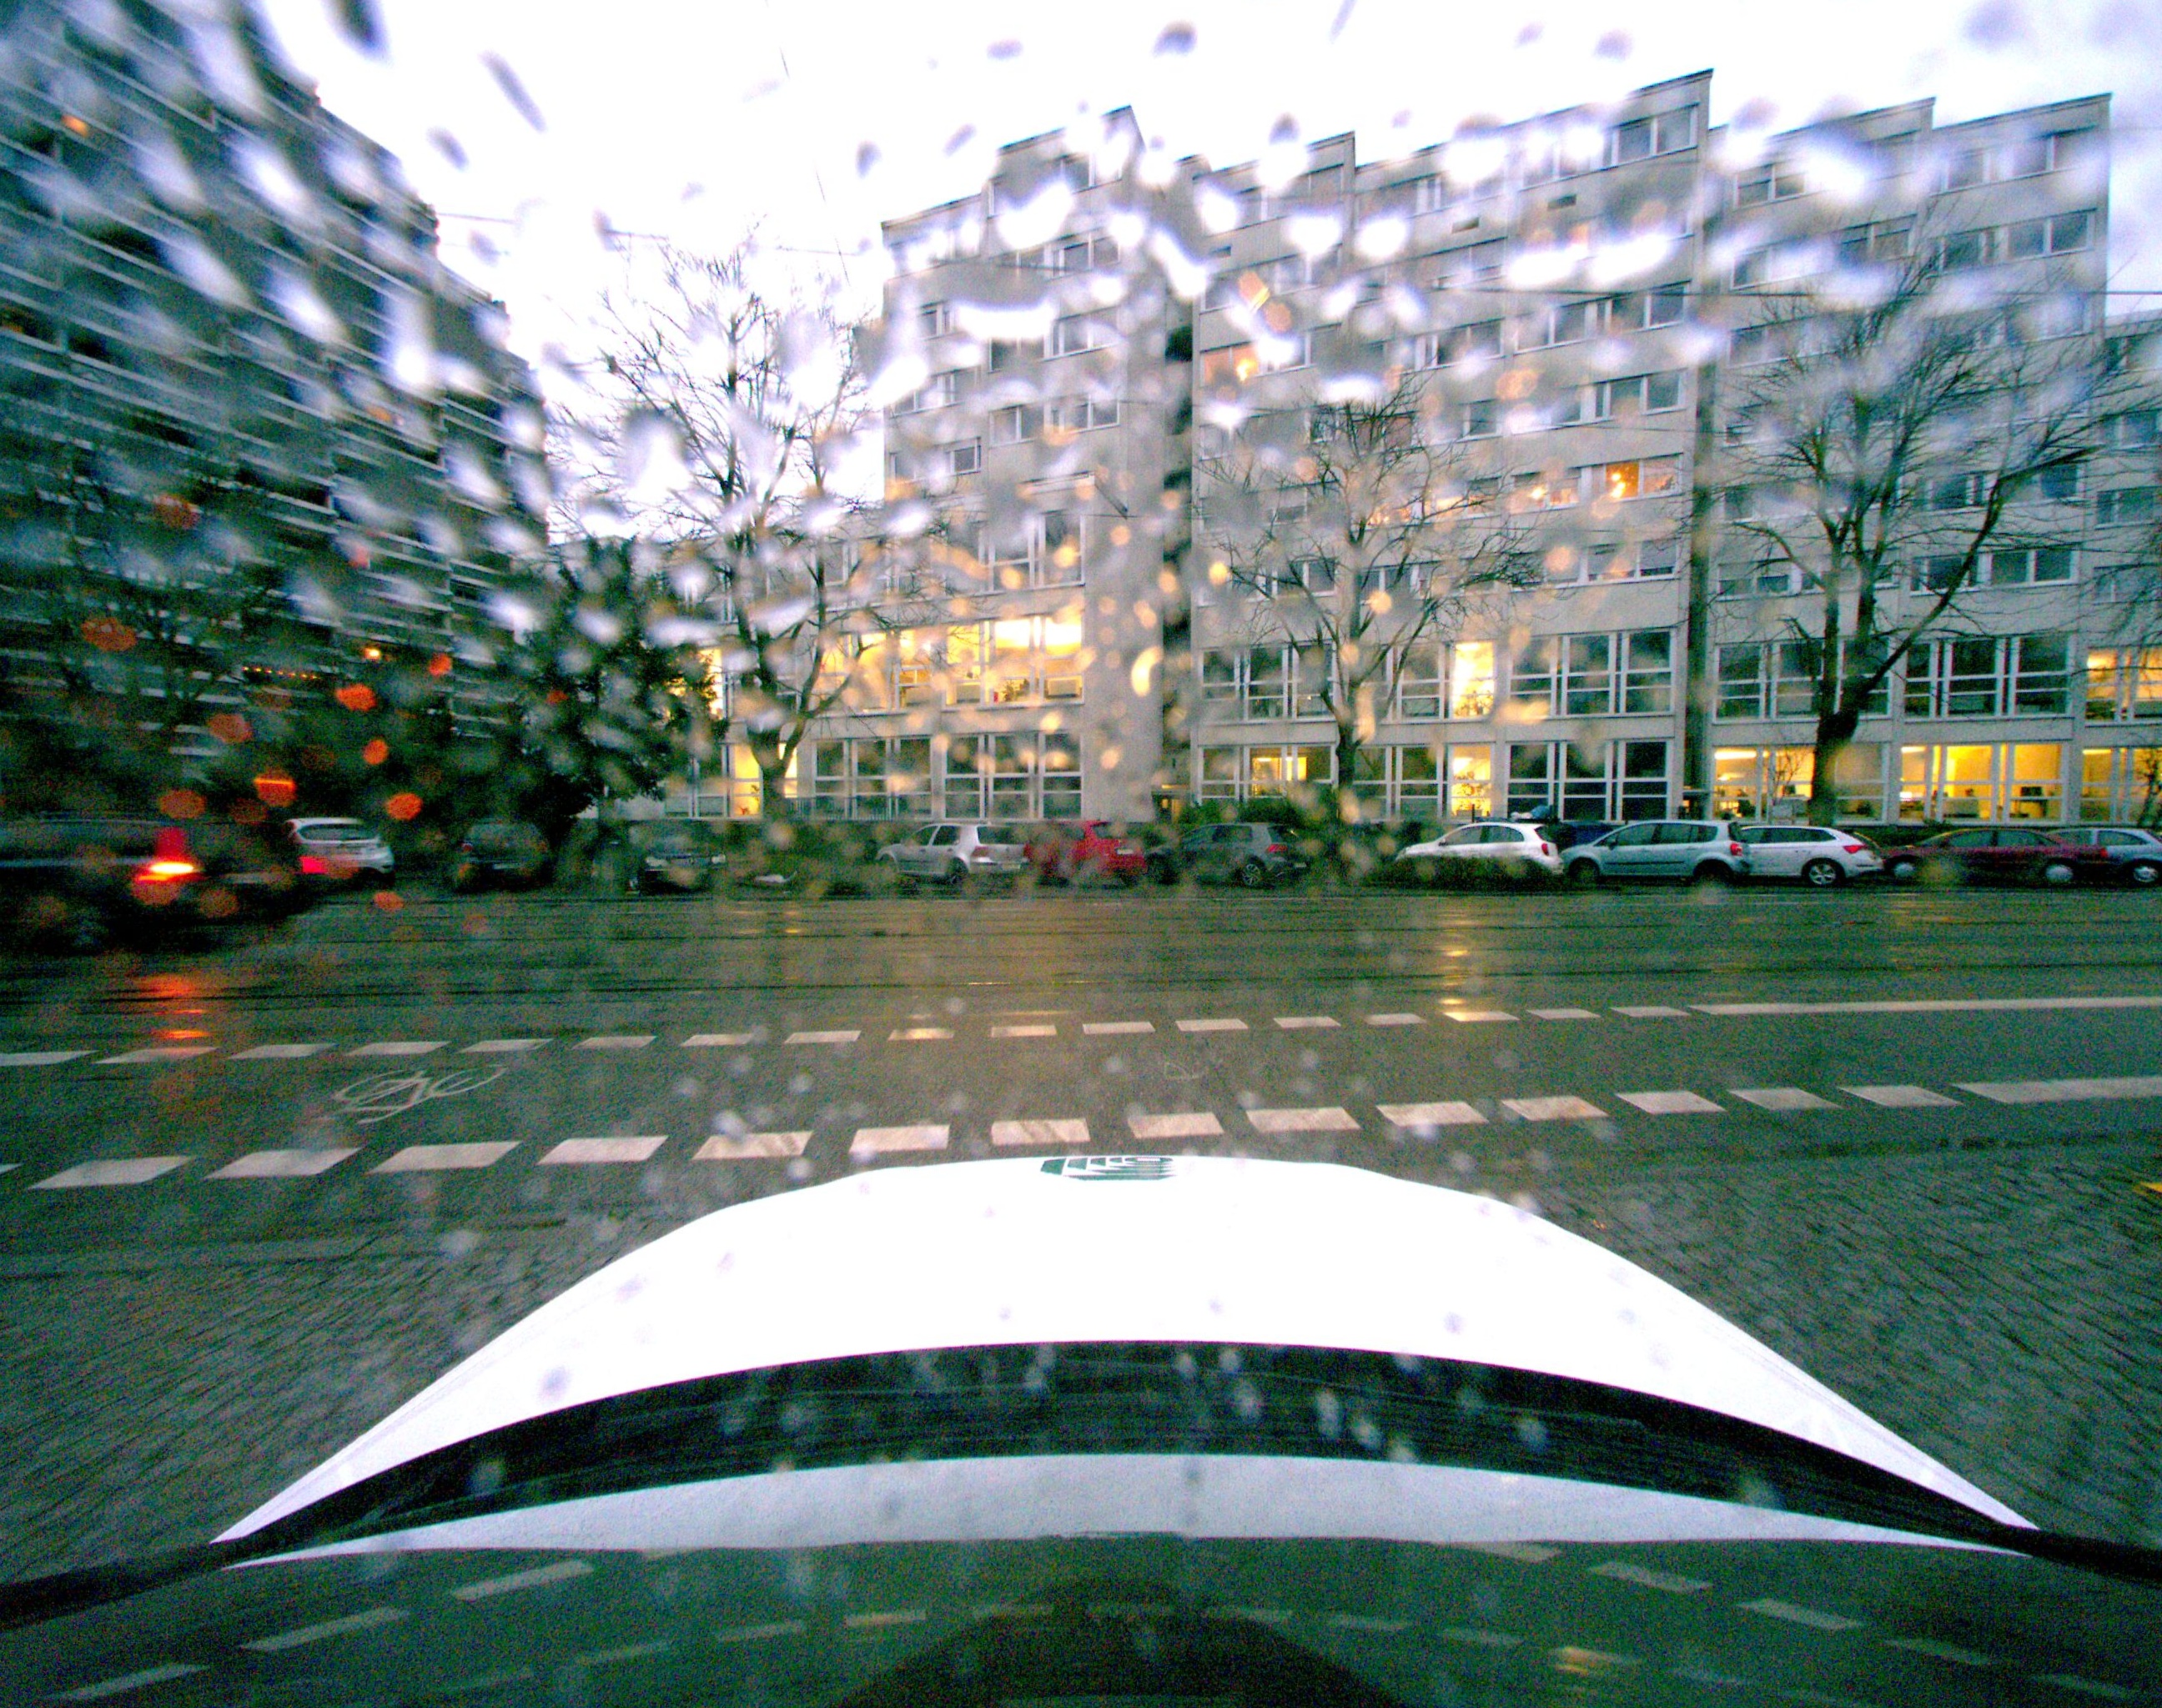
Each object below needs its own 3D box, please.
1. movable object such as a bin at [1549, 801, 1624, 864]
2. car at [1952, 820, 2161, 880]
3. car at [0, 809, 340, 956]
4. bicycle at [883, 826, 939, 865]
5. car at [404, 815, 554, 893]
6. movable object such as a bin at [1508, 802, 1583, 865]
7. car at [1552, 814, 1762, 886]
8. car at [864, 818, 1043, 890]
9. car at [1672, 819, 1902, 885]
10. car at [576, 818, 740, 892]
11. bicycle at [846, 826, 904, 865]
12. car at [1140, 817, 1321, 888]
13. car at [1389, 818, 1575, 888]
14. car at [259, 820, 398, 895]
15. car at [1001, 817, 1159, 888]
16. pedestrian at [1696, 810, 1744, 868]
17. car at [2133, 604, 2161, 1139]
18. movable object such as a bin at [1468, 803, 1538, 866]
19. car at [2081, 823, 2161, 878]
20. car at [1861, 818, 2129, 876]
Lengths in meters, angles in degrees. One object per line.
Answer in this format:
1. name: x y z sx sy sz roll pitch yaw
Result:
1. movable object such as a bin: 15.732 -0.683 25.387 1.311 1.859 1.573 -2 2 -4
2. car: 26.078 -0.149 21.603 1.746 1.463 3.954 -1 2 -40
3. car: -11.601 0.281 9.613 4.259 1.544 1.756 -1 2 6
4. bicycle: -5.134 -0.285 24.743 0.635 1.120 2.216 0 2 18
5. car: -12.889 -0.059 17.355 3.950 1.462 1.867 1 3 43
6. movable object such as a bin: 14.390 -0.642 25.287 1.386 1.859 1.573 -2 2 -4
7. car: 13.868 -0.150 19.745 3.950 1.563 1.747 1 3 43
8. car: -2.949 -0.054 18.471 3.949 1.446 1.804 1 3 39
9. car: 16.953 -0.096 19.725 1.745 1.443 3.955 -1 2 -38
10. car: -9.050 -0.036 17.292 3.950 1.378 1.867 1 3 43
11. bicycle: -6.310 -0.287 25.088 0.635 1.120 2.216 0 2 18
12. car: 3.416 -0.088 18.988 3.805 1.492 1.707 1 3 41
13. car: 9.799 -0.072 20.043 3.827 1.551 1.704 1 3 40
14. car: -16.062 0.001 17.326 3.950 1.399 1.867 1 3 43
15. car: -0.068 -0.086 18.979 3.408 1.492 1.740 1 3 43
16. pedestrian: 18.778 -0.446 23.931 0.968 1.676 0.598 -1 2 -6
17. car: 7.820 0.048 3.203 5.417 2.487 2.125 -1 1 -8
18. movable object such as a bin: 13.004 -0.619 25.160 1.311 1.859 1.573 -2 2 -4
19. car: 29.702 -0.101 21.539 3.803 1.423 1.748 1 3 39
20. car: 23.167 -0.216 20.937 4.292 1.352 1.761 1 2 37
